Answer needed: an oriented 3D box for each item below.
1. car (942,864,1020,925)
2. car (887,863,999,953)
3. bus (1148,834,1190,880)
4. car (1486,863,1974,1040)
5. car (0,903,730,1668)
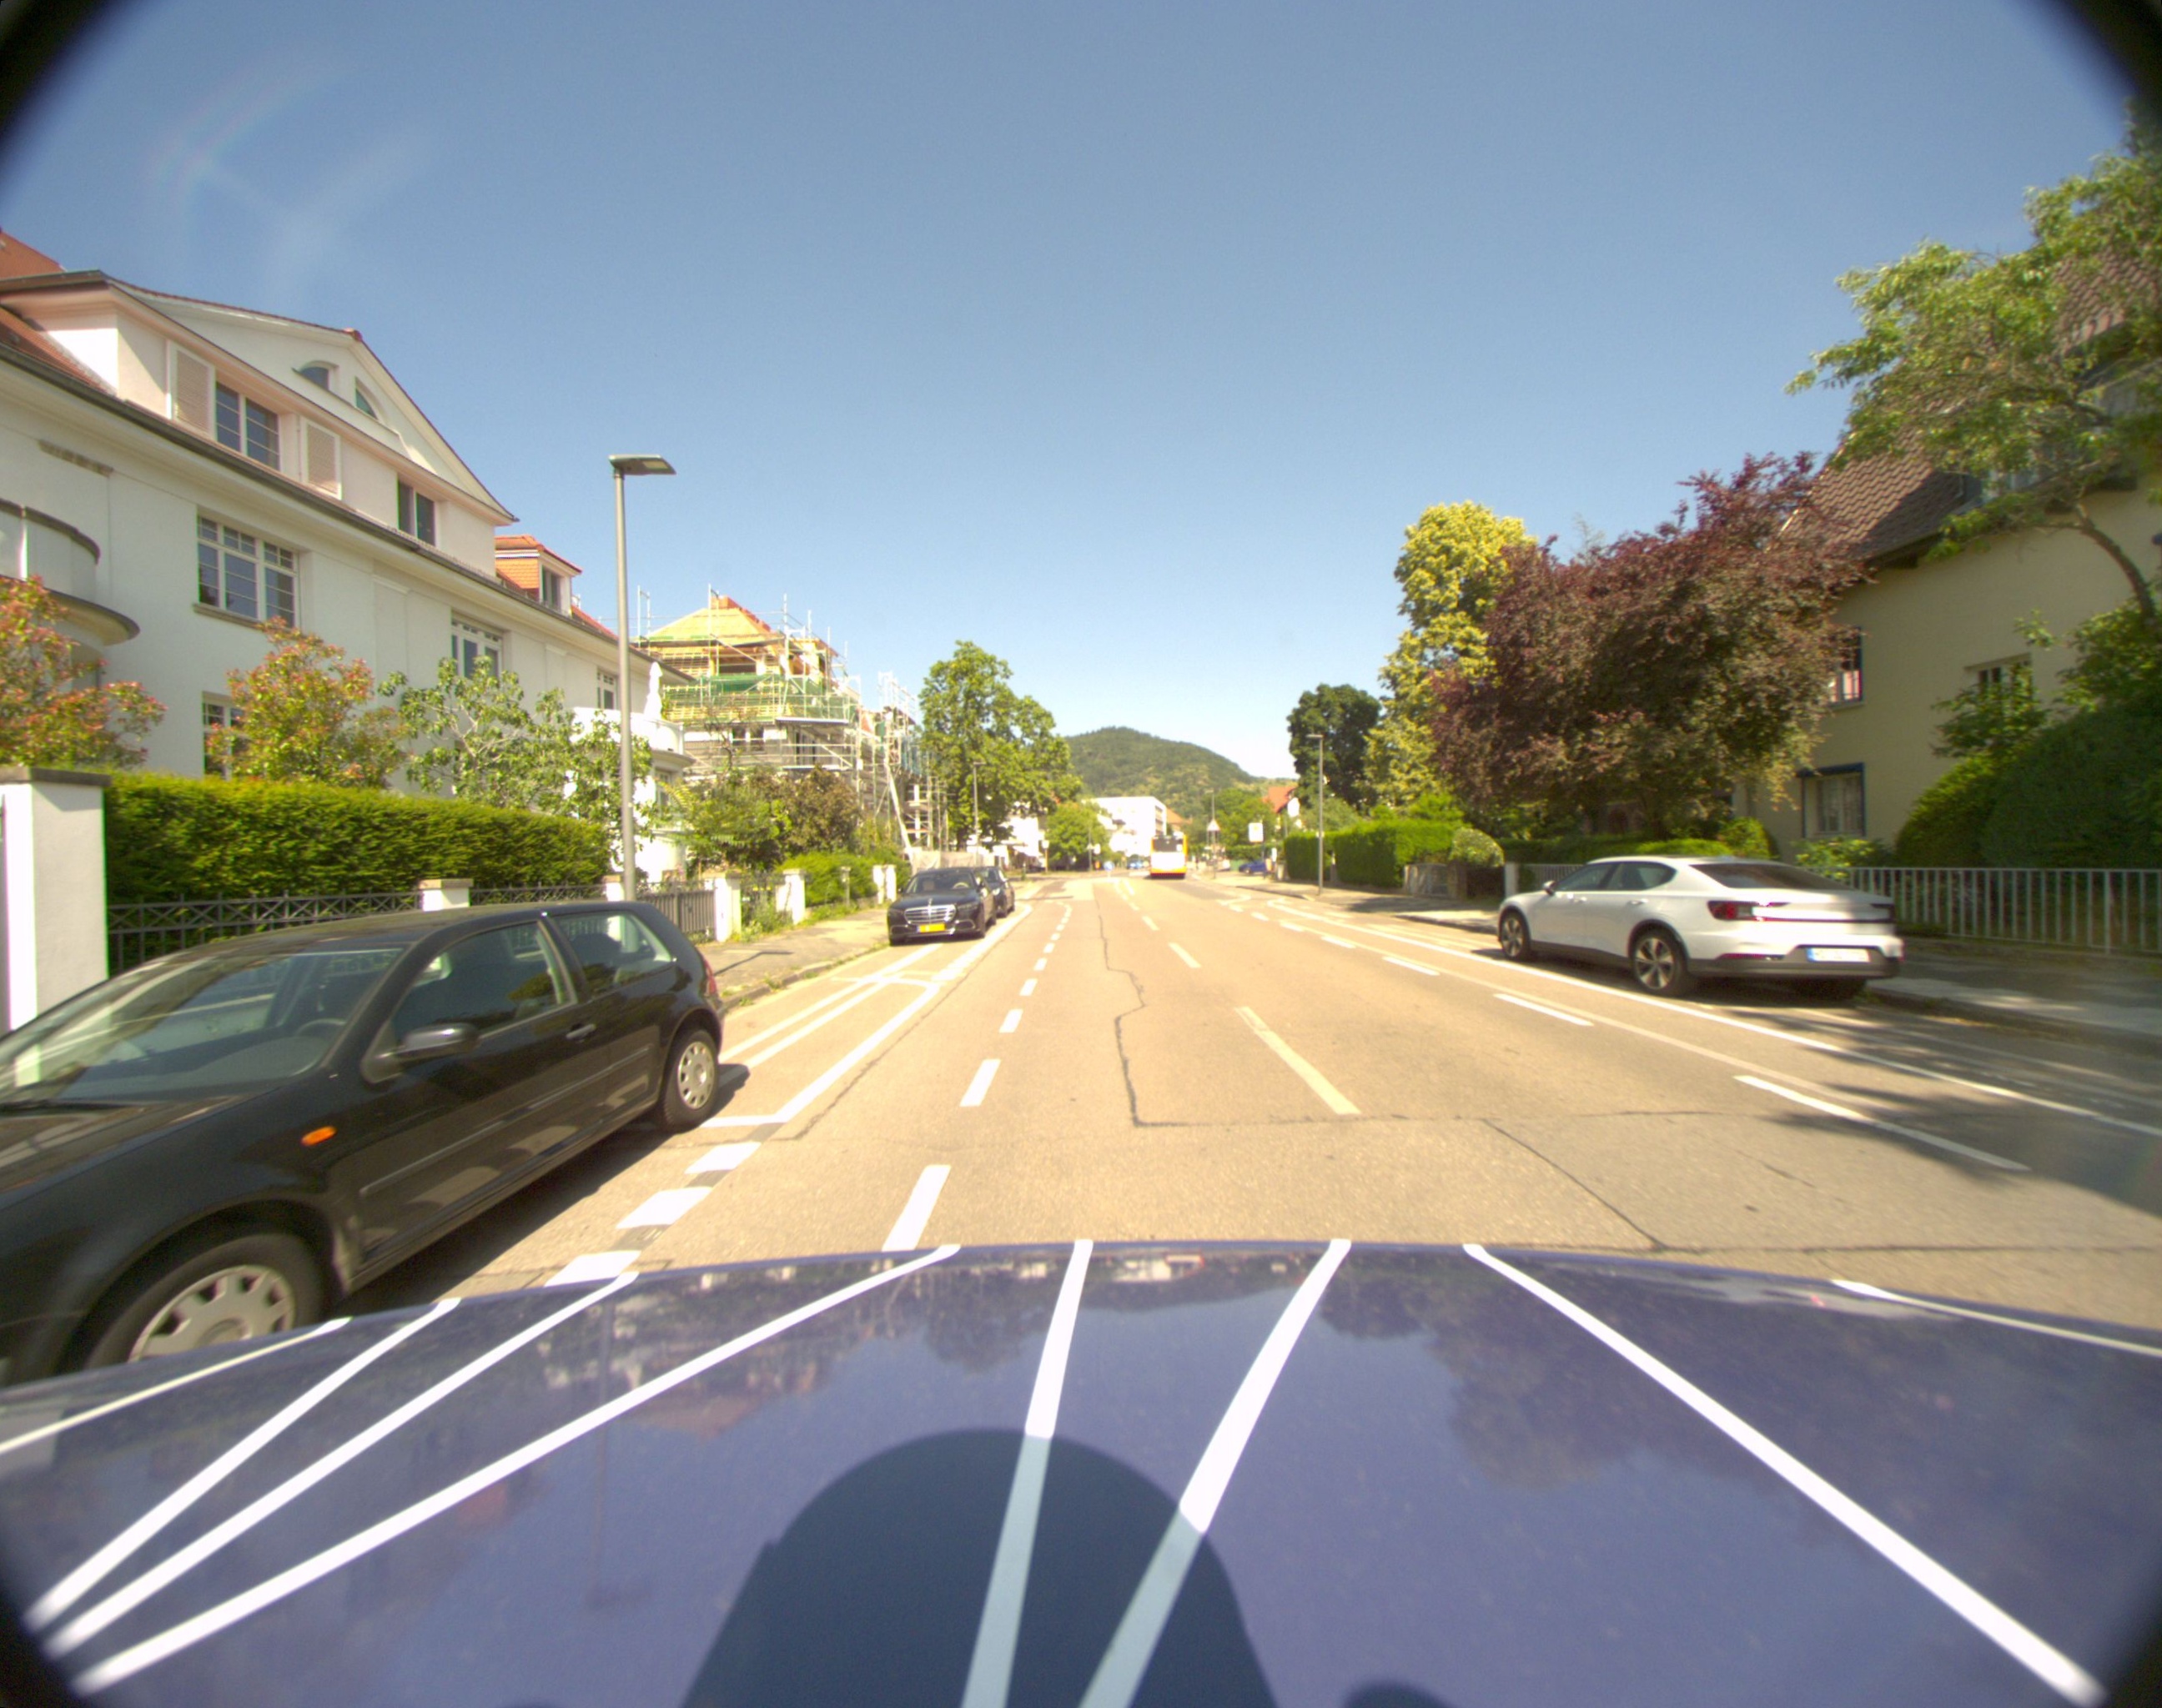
[{"bbox_3d":[-2.835,1.121,22.295,1.662,1.467,3.787,-4,0,0],"label":"car"},{"bbox_3d":[-2.933,1.073,17.151,1.701,1.573,4.900,-4,0,-2],"label":"car"},{"bbox_3d":[6.519,0.201,57.474,2.751,3.155,9.781,0,0,4],"label":"bus"},{"bbox_3d":[6.837,0.872,8.868,1.838,1.477,4.562,1,0,1],"label":"car"},{"bbox_3d":[-3.211,1.116,3.029,1.623,1.440,4.000,-5,0,1],"label":"car"}]
